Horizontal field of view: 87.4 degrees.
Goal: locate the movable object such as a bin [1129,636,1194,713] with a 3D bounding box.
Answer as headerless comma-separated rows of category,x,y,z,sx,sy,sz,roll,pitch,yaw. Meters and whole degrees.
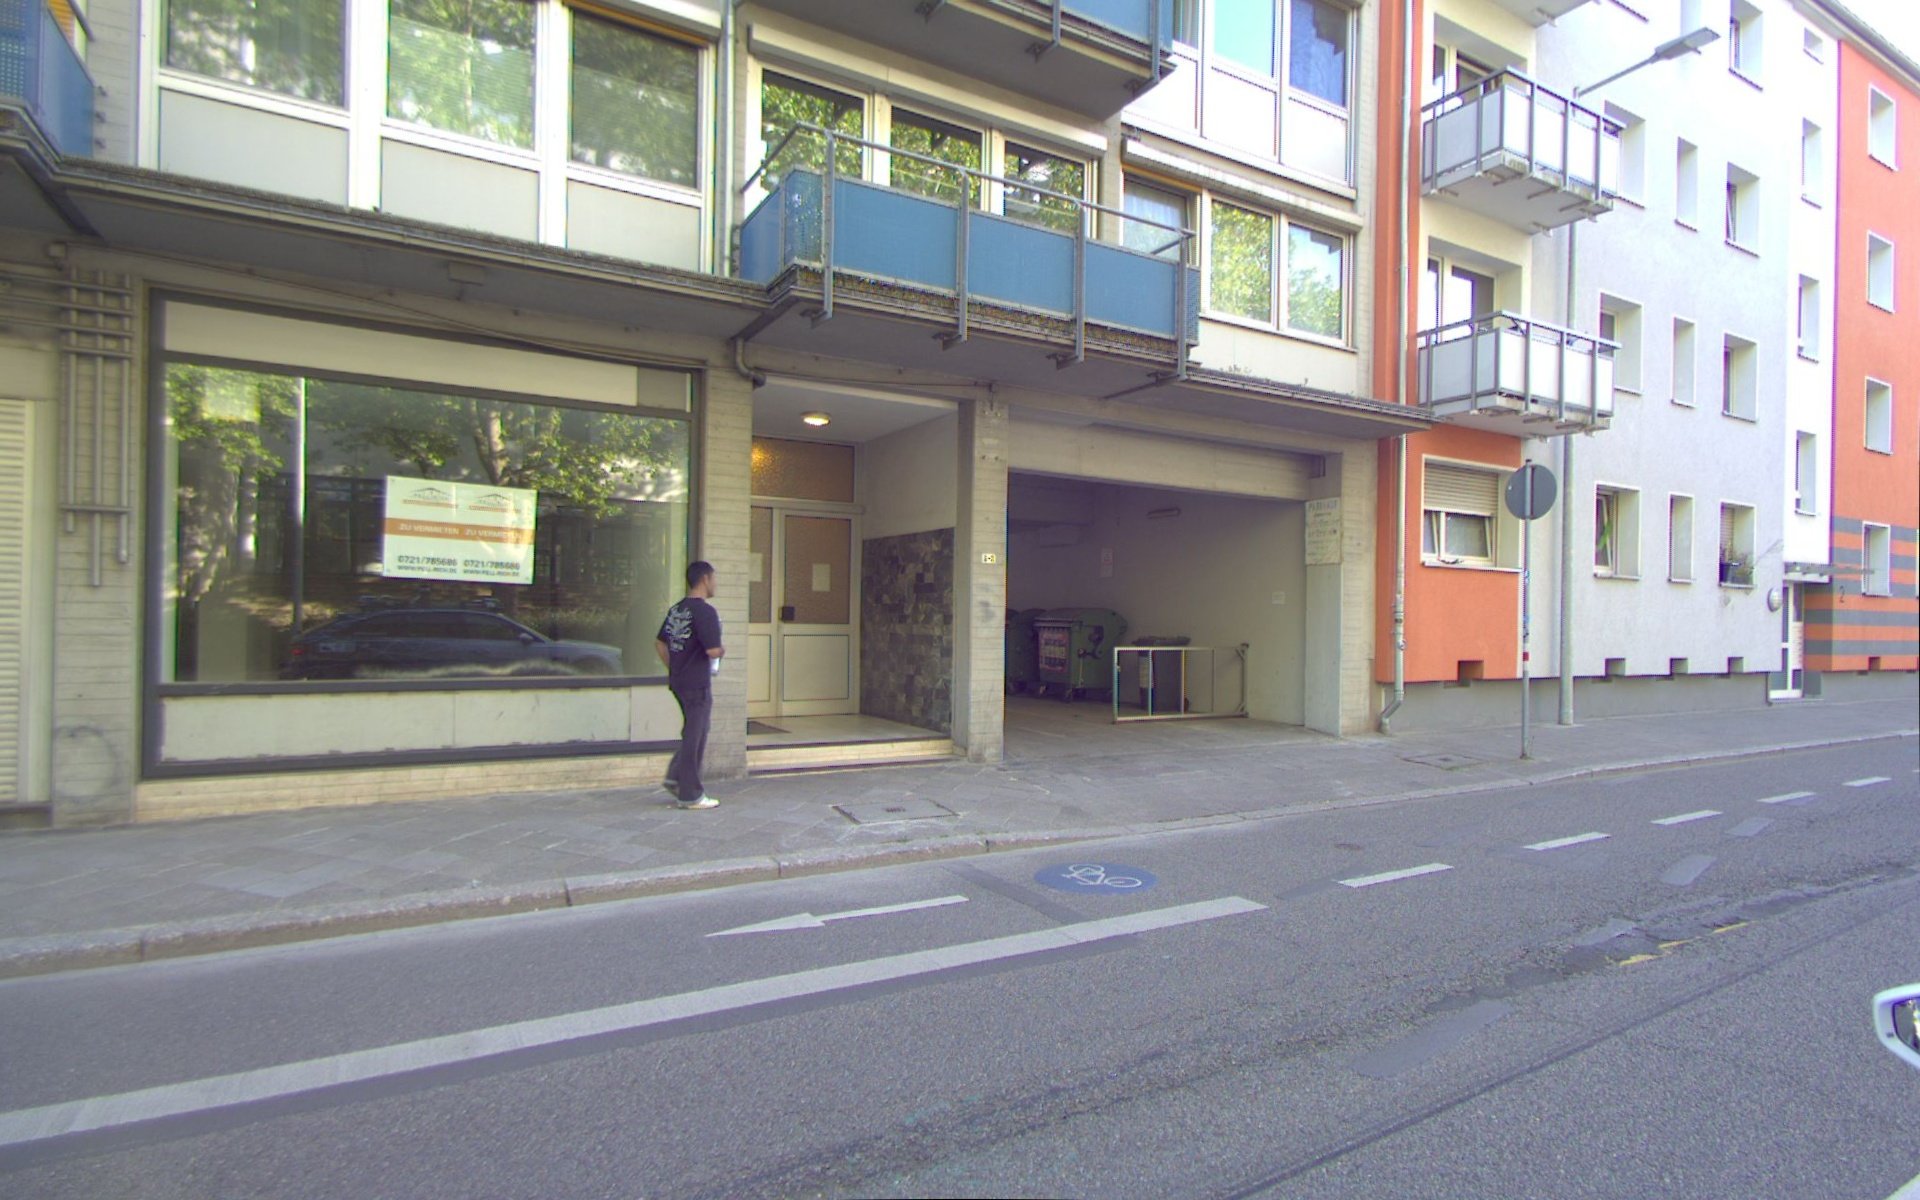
movable object such as a bin,2.898,1.053,14.457,0.704,1.054,0.583,1,0,-30

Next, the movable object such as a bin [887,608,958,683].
movable object such as a bin,-0.740,0.864,19.672,1.012,1.409,1.046,1,0,-31

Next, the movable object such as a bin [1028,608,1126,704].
movable object such as a bin,1.824,0.850,15.816,1.009,1.438,1.321,1,0,-23

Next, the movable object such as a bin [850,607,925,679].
movable object such as a bin,-1.501,0.868,20.647,1.014,1.409,1.264,1,0,-37

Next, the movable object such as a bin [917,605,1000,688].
movable object such as a bin,-0.041,0.839,18.655,1.011,1.462,1.318,1,0,-29

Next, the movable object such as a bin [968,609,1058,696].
movable object such as a bin,0.886,0.864,17.146,1.011,1.409,1.319,1,0,-27

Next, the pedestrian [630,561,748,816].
pedestrian,-1.970,0.612,7.326,0.619,1.764,0.527,1,0,26
